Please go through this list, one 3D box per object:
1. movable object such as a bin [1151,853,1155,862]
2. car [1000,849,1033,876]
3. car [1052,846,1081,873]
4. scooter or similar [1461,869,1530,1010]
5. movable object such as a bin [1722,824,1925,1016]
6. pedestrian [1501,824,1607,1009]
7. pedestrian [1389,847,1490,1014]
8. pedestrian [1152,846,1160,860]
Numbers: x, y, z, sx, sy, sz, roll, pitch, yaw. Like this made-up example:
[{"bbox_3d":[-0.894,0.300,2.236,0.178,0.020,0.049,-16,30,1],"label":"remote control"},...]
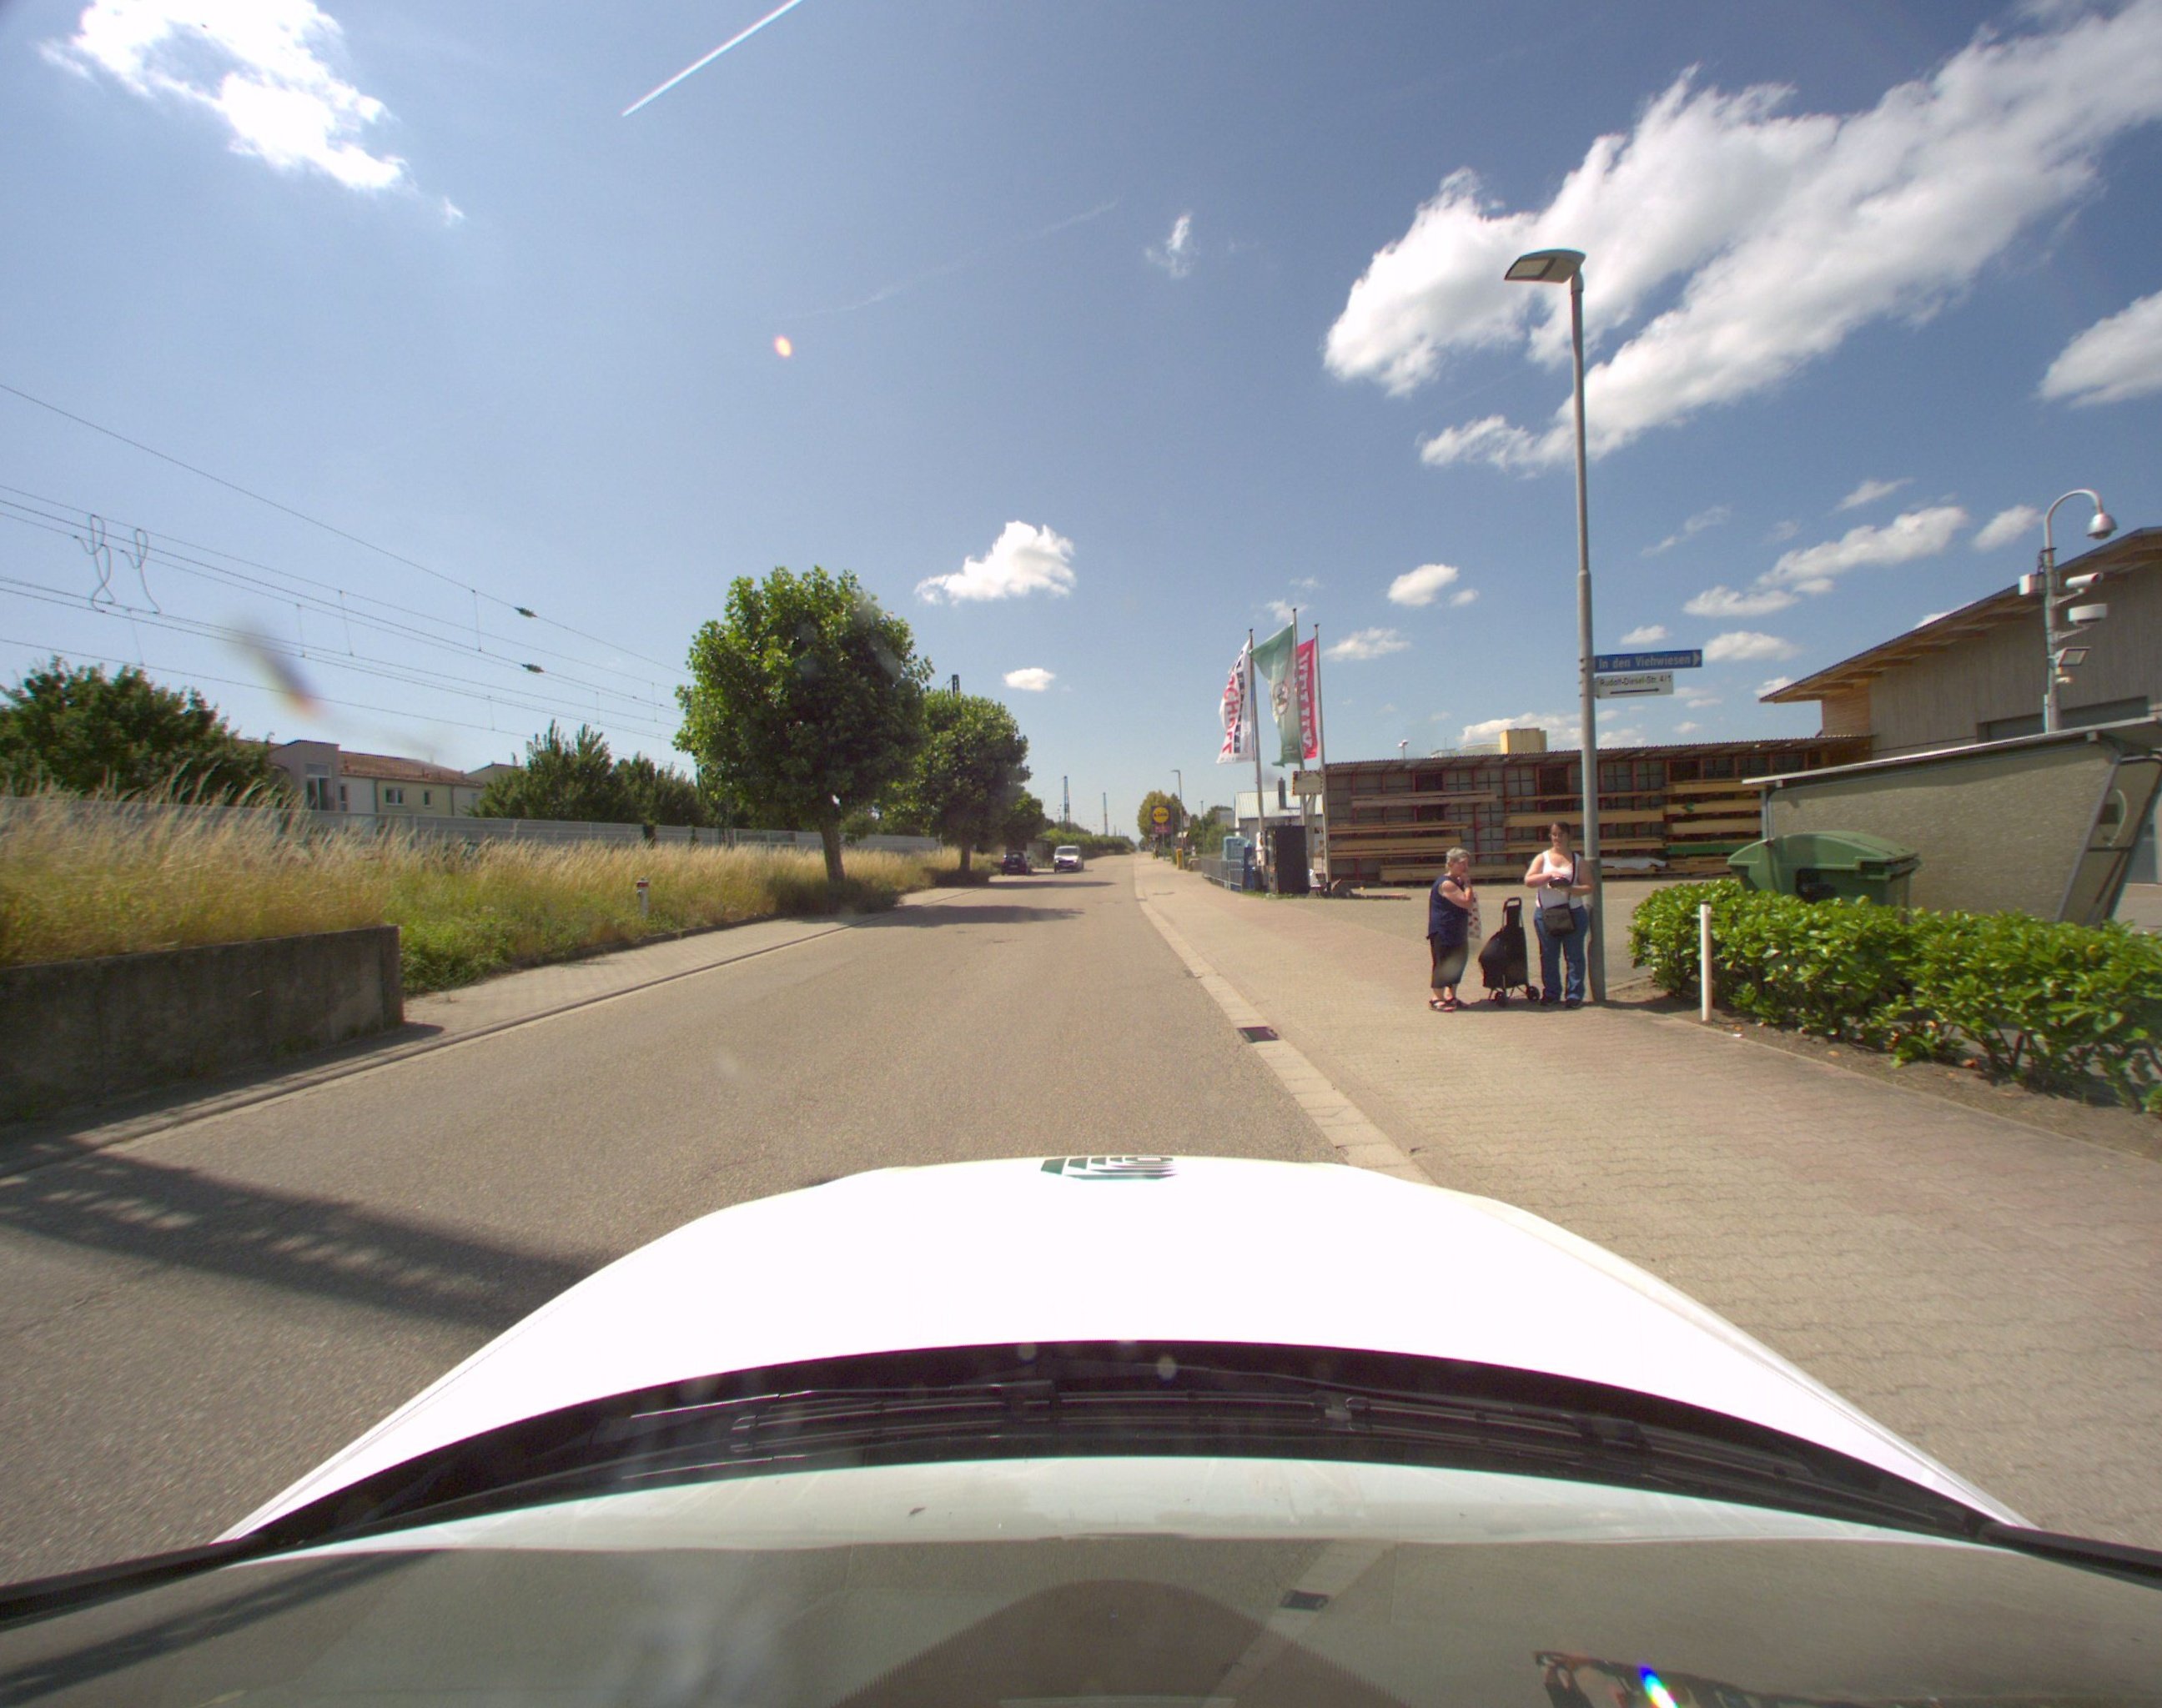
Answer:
[{"bbox_3d":[8.483,0.410,95.572,0.373,1.030,0.499,-3,-1,-1],"label":"movable object such as a bin"},{"bbox_3d":[-4.162,0.525,53.096,1.735,1.596,3.580,-2,0,1],"label":"car"},{"bbox_3d":[-0.995,0.369,59.890,1.831,1.858,4.486,-2,0,2],"label":"car"},{"bbox_3d":[3.692,0.746,7.270,0.332,1.198,0.398,-3,-2,1],"label":"scooter or similar"},{"bbox_3d":[6.338,0.493,6.961,1.273,1.458,1.037,-1,0,-36],"label":"movable object such as a bin"},{"bbox_3d":[4.147,0.538,7.173,0.533,1.540,0.511,-3,-2,0],"label":"pedestrian"},{"bbox_3d":[3.187,0.662,7.284,0.563,1.405,0.584,-3,-2,0],"label":"pedestrian"},{"bbox_3d":[8.883,-0.151,96.014,0.759,1.601,1.210,-2,0,1],"label":"pedestrian"}]
